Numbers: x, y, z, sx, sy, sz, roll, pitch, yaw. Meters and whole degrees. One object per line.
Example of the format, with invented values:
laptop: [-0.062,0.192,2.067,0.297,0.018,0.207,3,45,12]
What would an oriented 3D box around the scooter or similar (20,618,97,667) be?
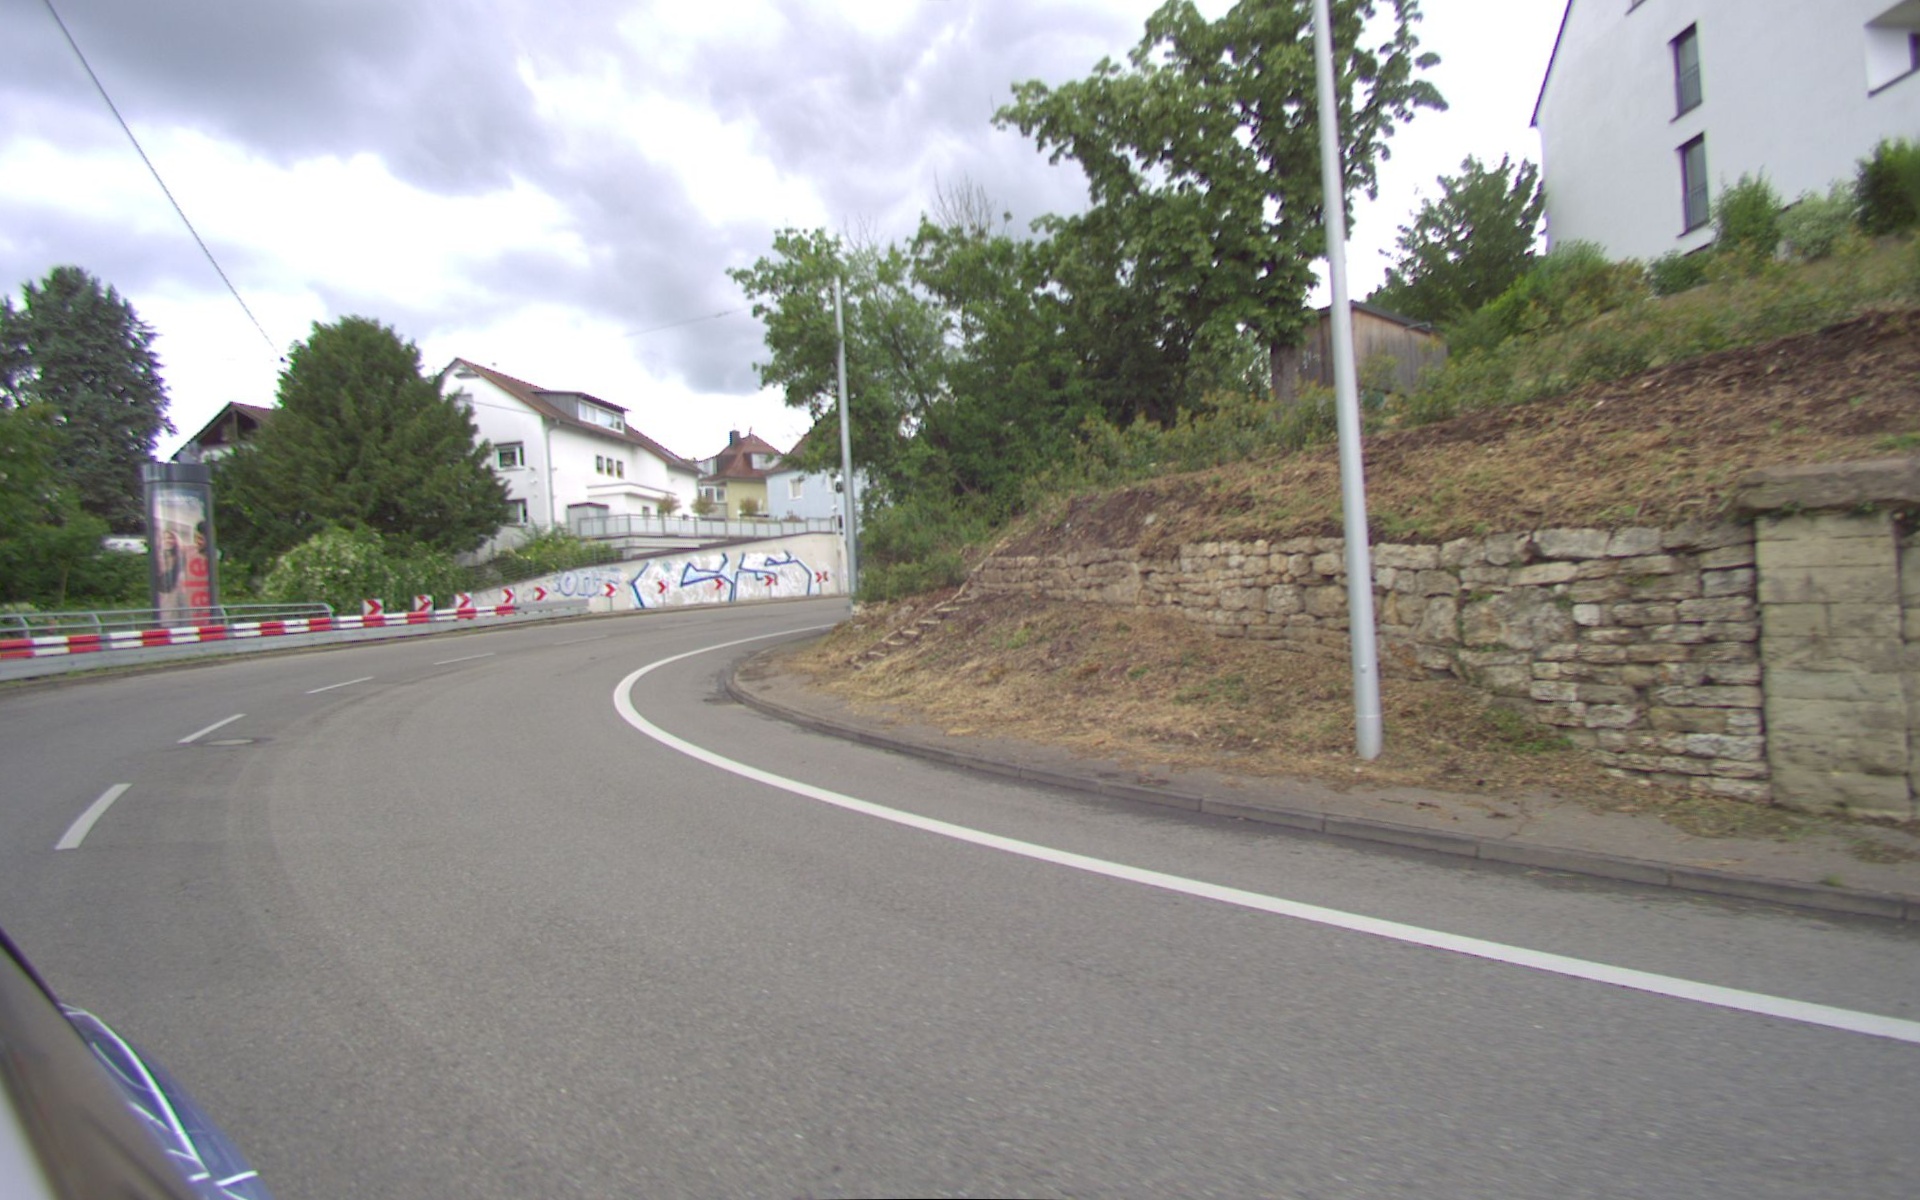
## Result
scooter or similar: [-25.056,1.174,28.146,1.475,1.259,0.438,-4,0,-24]
